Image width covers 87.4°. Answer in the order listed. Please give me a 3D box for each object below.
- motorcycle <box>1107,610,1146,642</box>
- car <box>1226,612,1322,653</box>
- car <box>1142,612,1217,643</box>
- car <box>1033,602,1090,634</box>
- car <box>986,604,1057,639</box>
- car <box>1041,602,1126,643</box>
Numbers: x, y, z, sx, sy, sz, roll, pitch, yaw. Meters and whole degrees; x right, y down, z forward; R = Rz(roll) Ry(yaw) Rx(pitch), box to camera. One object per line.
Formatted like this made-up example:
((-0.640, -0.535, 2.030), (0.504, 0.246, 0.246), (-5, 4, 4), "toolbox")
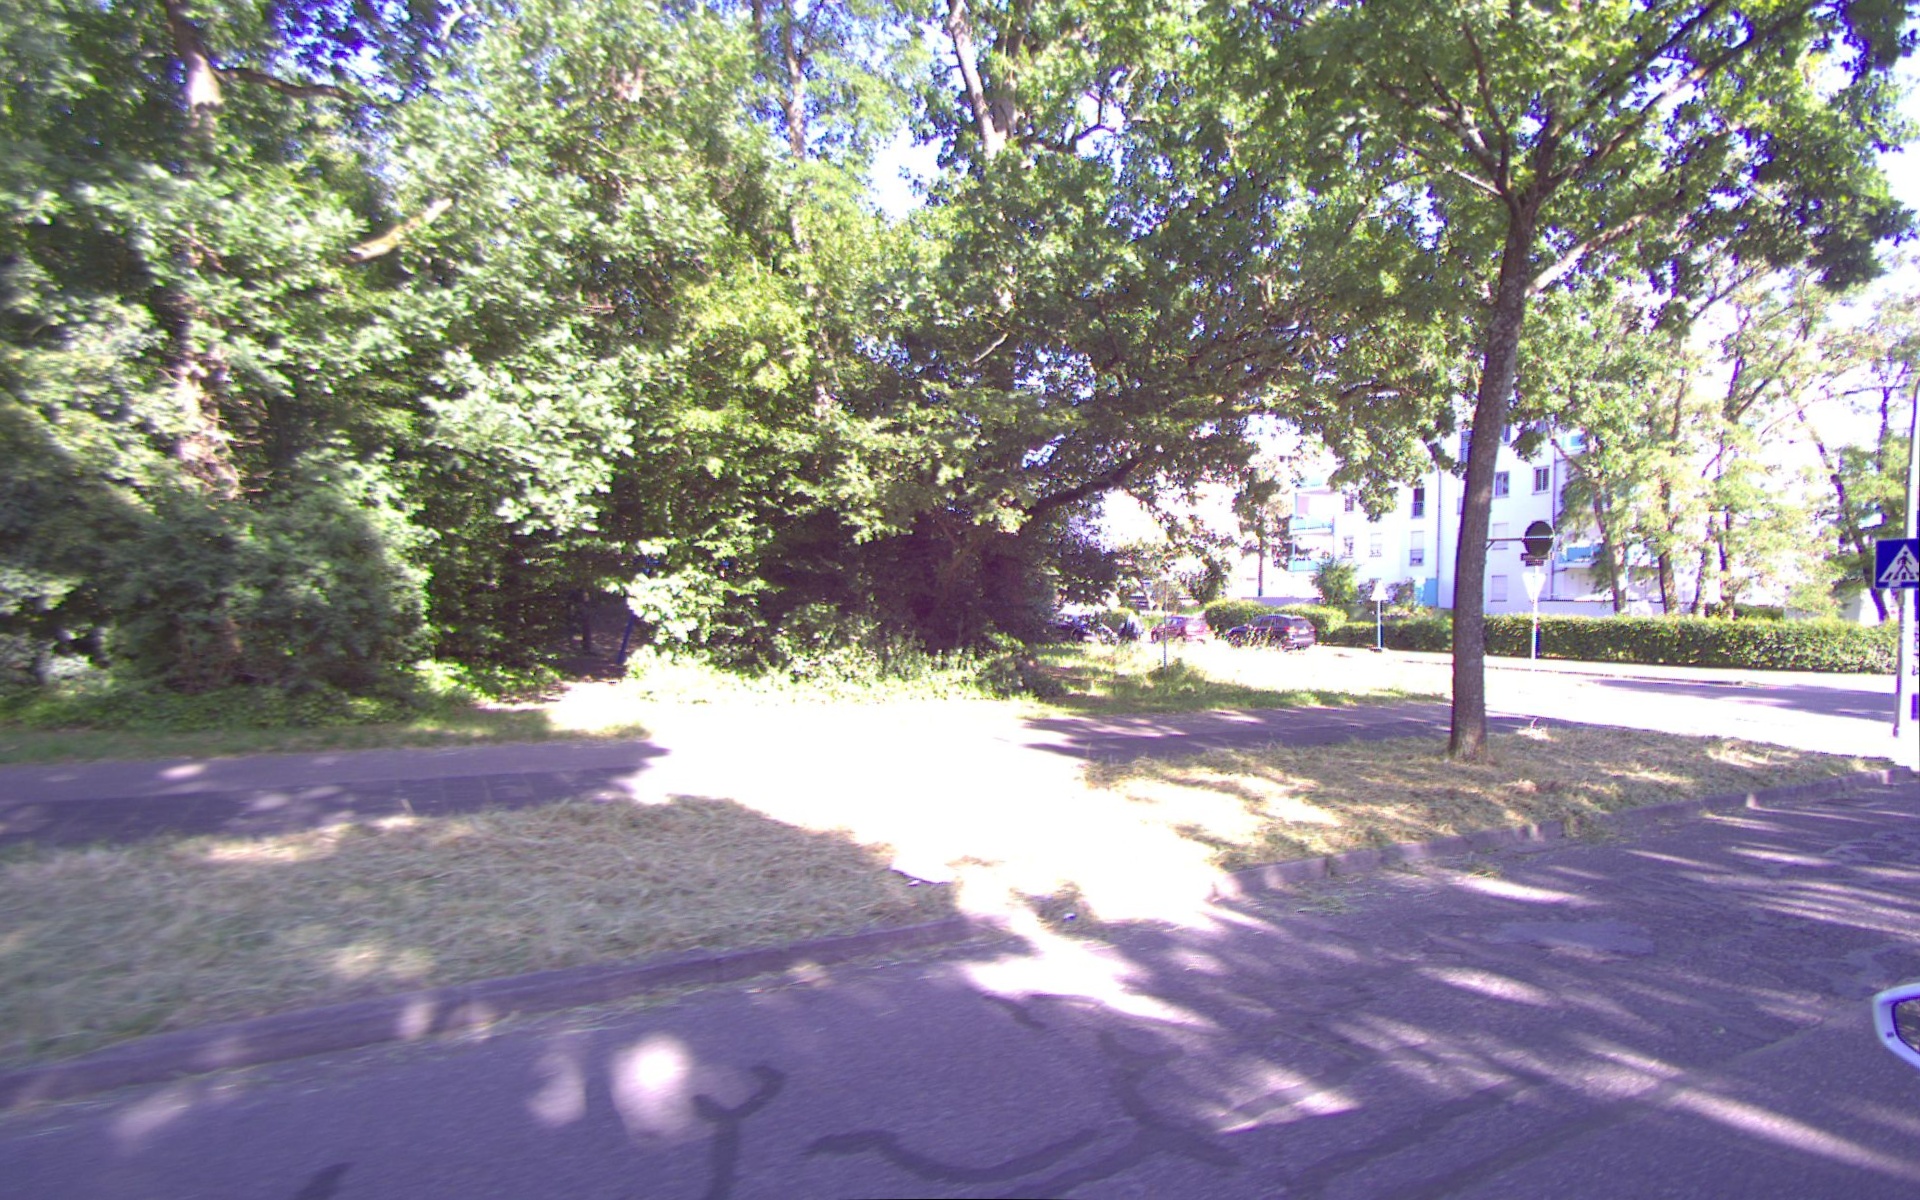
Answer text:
((6.923, 1.059, 41.634), (1.126, 1.270, 2.564), (2, 0, 19), "motorcycle")
((14.066, 1.427, 45.222), (1.985, 1.634, 3.978), (2, 0, -23), "car")
((11.183, 1.379, 51.463), (1.785, 1.442, 3.978), (1, 0, -23), "car")
((6.463, 1.090, 64.619), (1.969, 1.983, 4.453), (0, 0, -20), "car")
((3.020, 1.053, 50.403), (1.972, 1.639, 3.978), (2, 0, -23), "car")
((5.367, 0.959, 44.226), (1.972, 1.639, 3.978), (2, 0, -23), "car")
